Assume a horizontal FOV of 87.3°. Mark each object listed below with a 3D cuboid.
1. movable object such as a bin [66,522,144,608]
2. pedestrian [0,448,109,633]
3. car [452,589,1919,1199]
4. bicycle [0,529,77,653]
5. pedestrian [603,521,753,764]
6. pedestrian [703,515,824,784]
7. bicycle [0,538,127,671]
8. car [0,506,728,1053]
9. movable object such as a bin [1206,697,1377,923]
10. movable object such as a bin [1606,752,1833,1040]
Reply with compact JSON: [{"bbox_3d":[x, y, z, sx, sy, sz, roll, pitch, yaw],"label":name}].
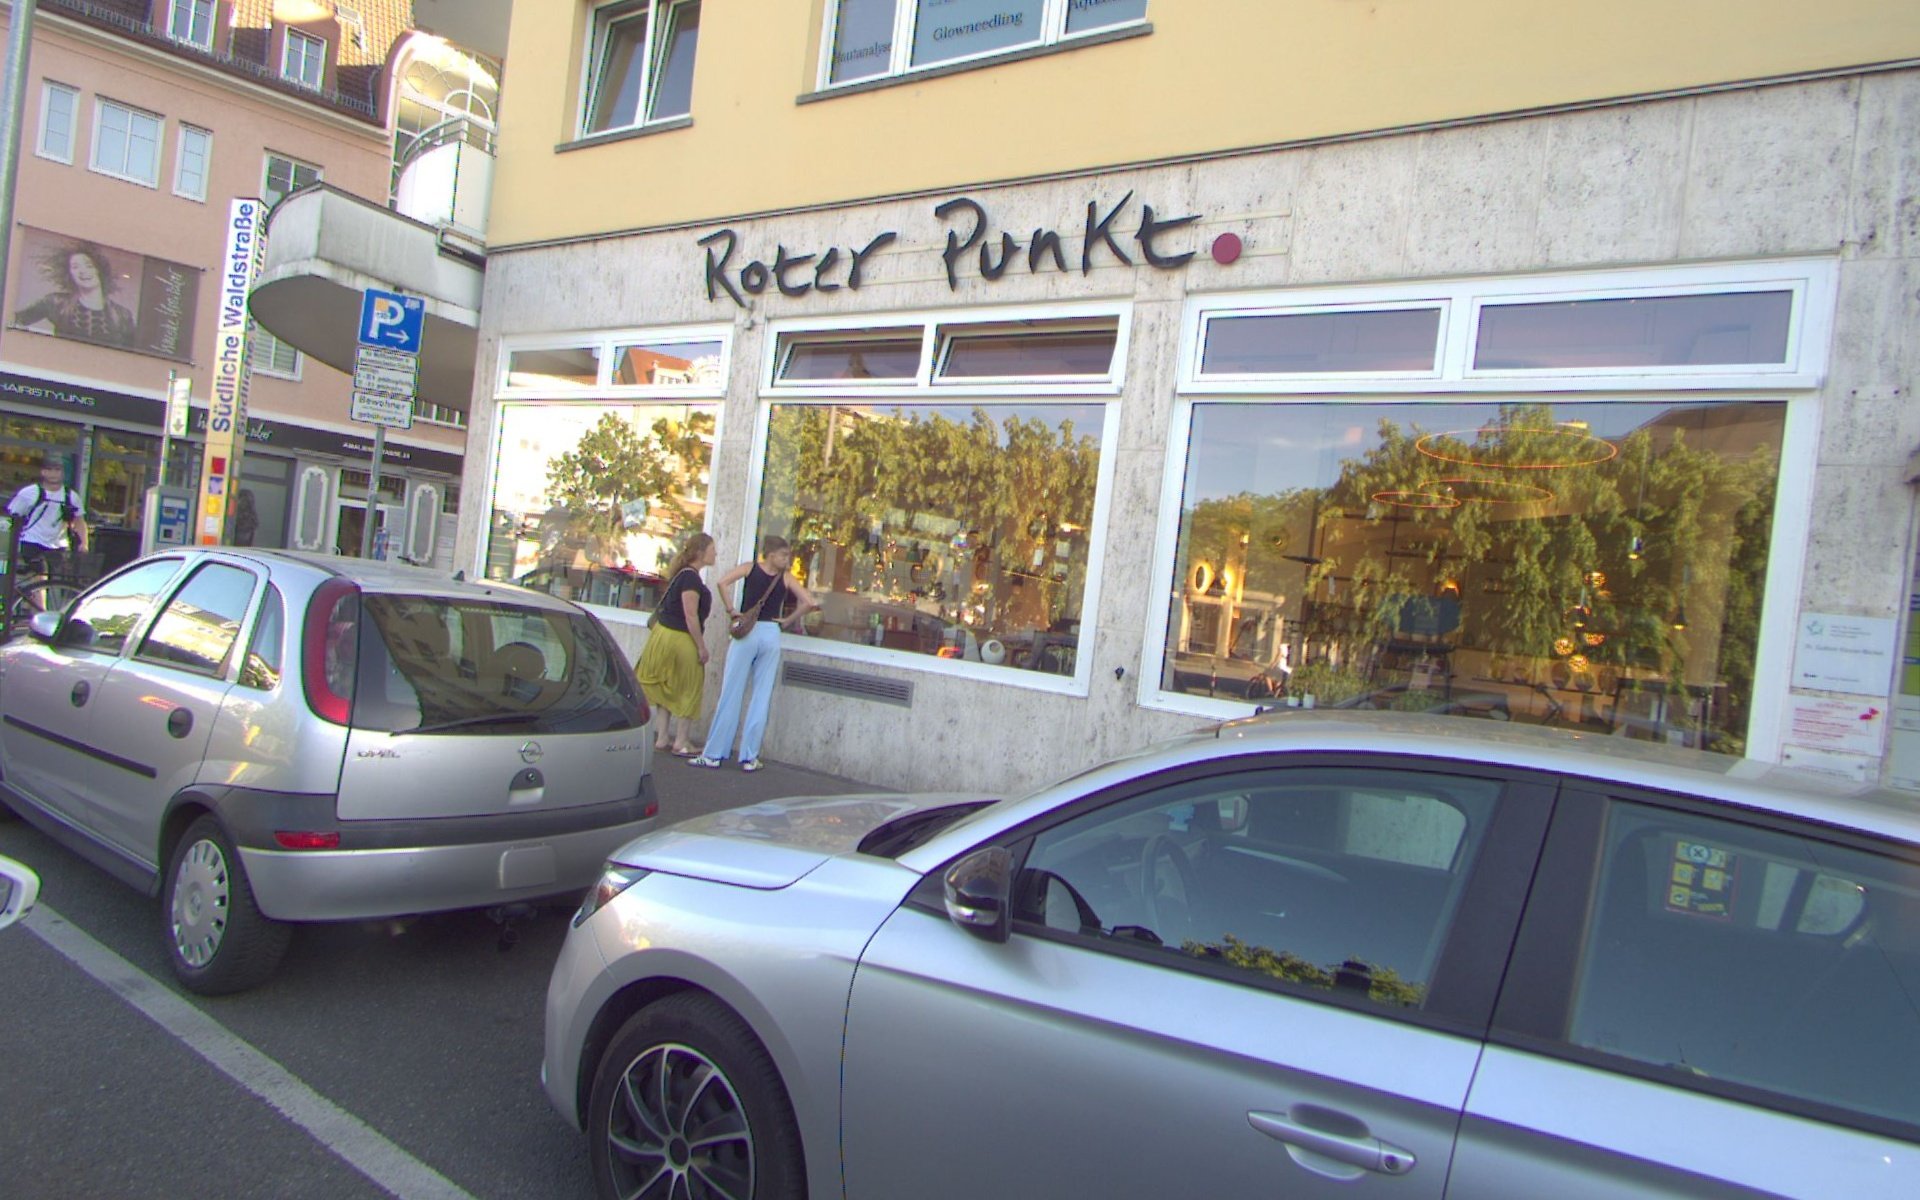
[{"bbox_3d":[-11.958,-0.488,14.067,0.716,1.117,0.636,7,2,35],"label":"movable object such as a bin"},{"bbox_3d":[-9.995,-0.640,10.885,0.967,1.844,0.809,6,-1,35],"label":"pedestrian"},{"bbox_3d":[0.784,0.944,2.279,3.624,1.453,1.587,6,-2,30],"label":"car"},{"bbox_3d":[-9.051,-0.149,8.795,0.642,1.072,1.816,7,-1,33],"label":"bicycle"},{"bbox_3d":[-2.207,0.318,7.870,0.781,1.777,0.715,4,2,-40],"label":"pedestrian"},{"bbox_3d":[-1.497,0.349,7.559,0.672,1.874,0.890,4,2,-18],"label":"pedestrian"},{"bbox_3d":[-8.160,0.004,8.251,0.642,1.057,1.884,7,0,33],"label":"bicycle"},{"bbox_3d":[-2.952,0.485,4.458,3.520,1.443,1.587,6,-2,32],"label":"car"},{"bbox_3d":[1.819,1.096,5.480,0.639,1.035,0.738,6,-1,31],"label":"movable object such as a bin"},{"bbox_3d":[3.378,1.266,4.544,0.639,1.035,0.738,6,-1,31],"label":"movable object such as a bin"}]
